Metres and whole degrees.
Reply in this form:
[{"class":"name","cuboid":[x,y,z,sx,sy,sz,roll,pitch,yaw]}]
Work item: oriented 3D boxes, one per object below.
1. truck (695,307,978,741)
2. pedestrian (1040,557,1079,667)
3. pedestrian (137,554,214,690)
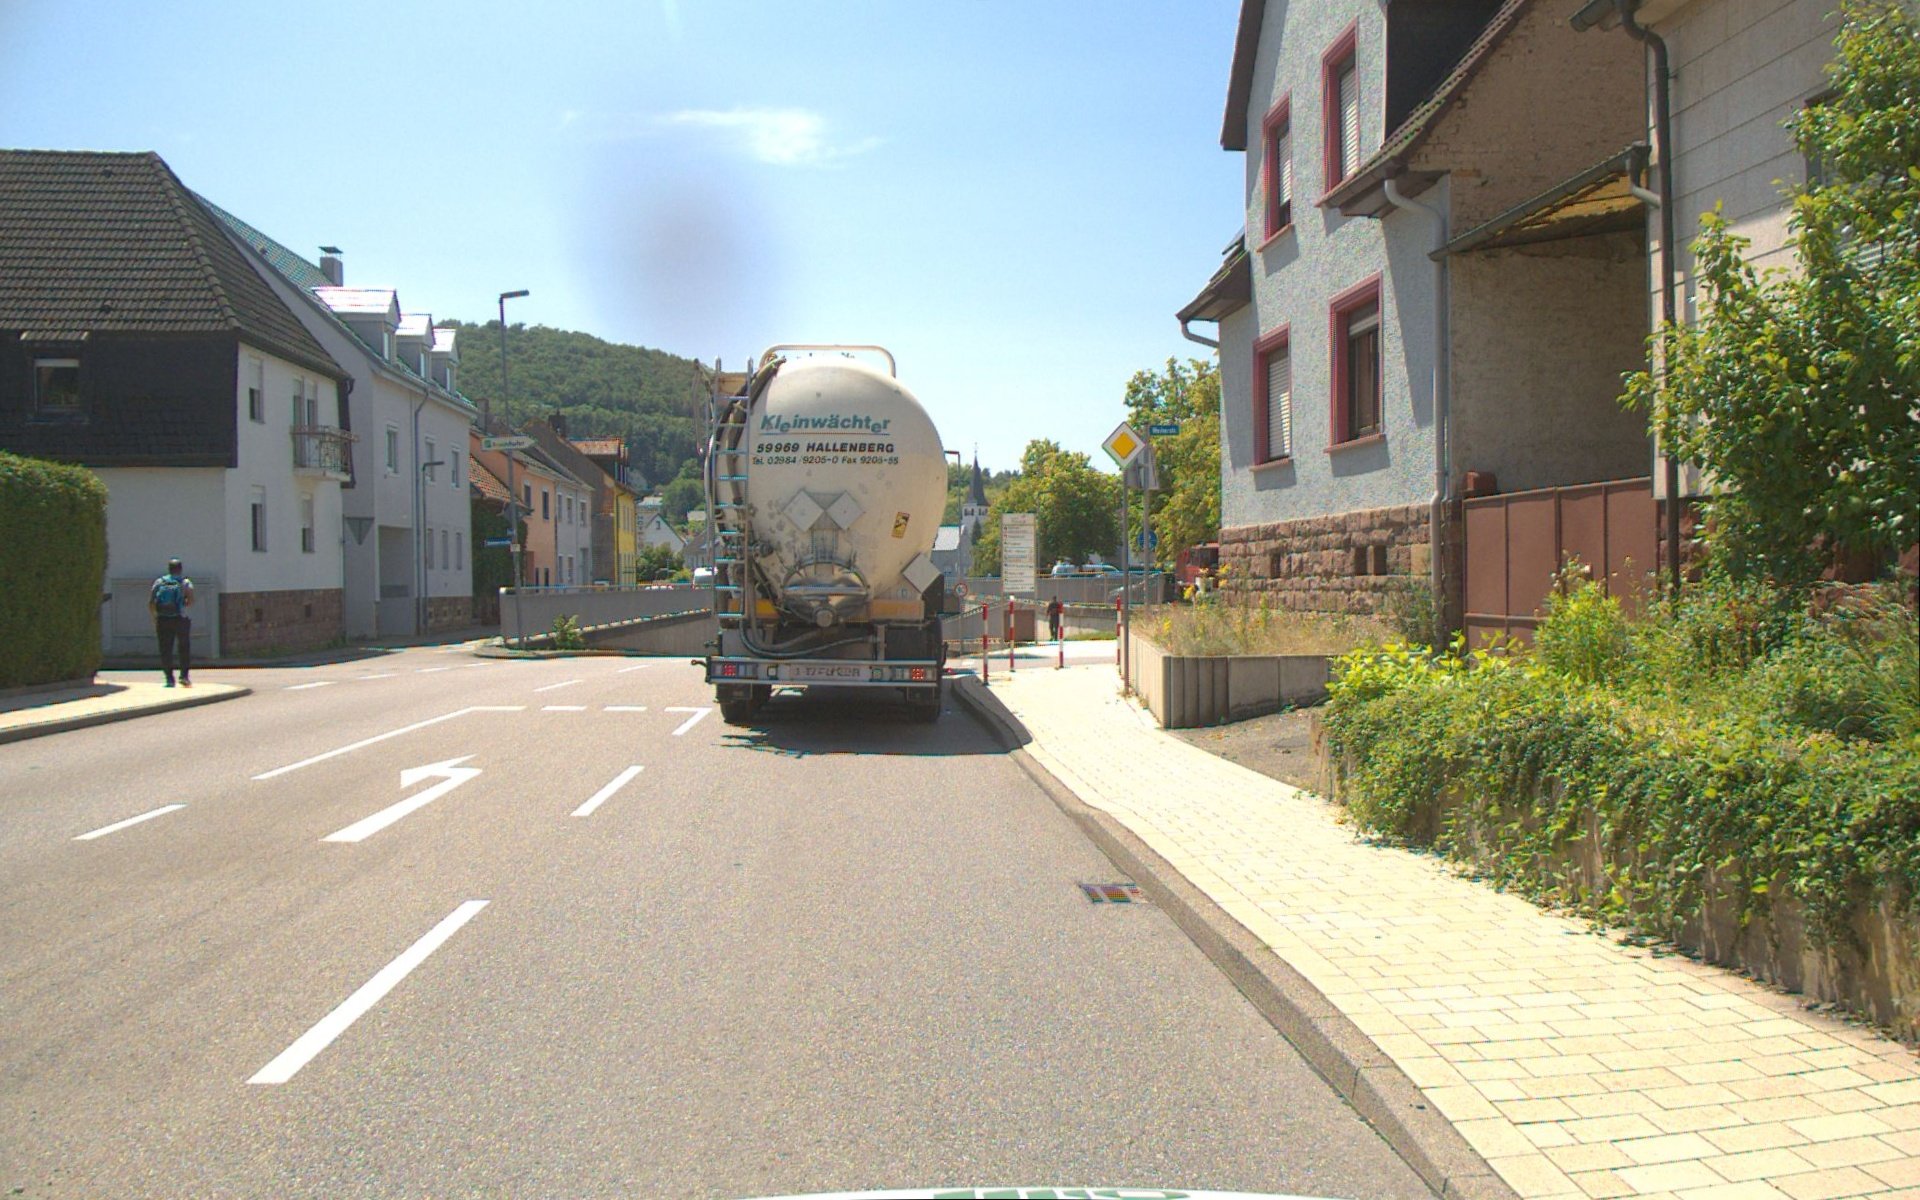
[{"class":"truck","cuboid":[-1.700,-0.758,21.298,2.697,4.127,10.876,0,0,-6]},{"class":"pedestrian","cuboid":[1.598,0.193,26.593,0.559,1.723,0.721,1,-1,-1]},{"class":"pedestrian","cuboid":[-10.933,0.307,23.066,0.699,1.855,0.896,1,-1,-9]}]
